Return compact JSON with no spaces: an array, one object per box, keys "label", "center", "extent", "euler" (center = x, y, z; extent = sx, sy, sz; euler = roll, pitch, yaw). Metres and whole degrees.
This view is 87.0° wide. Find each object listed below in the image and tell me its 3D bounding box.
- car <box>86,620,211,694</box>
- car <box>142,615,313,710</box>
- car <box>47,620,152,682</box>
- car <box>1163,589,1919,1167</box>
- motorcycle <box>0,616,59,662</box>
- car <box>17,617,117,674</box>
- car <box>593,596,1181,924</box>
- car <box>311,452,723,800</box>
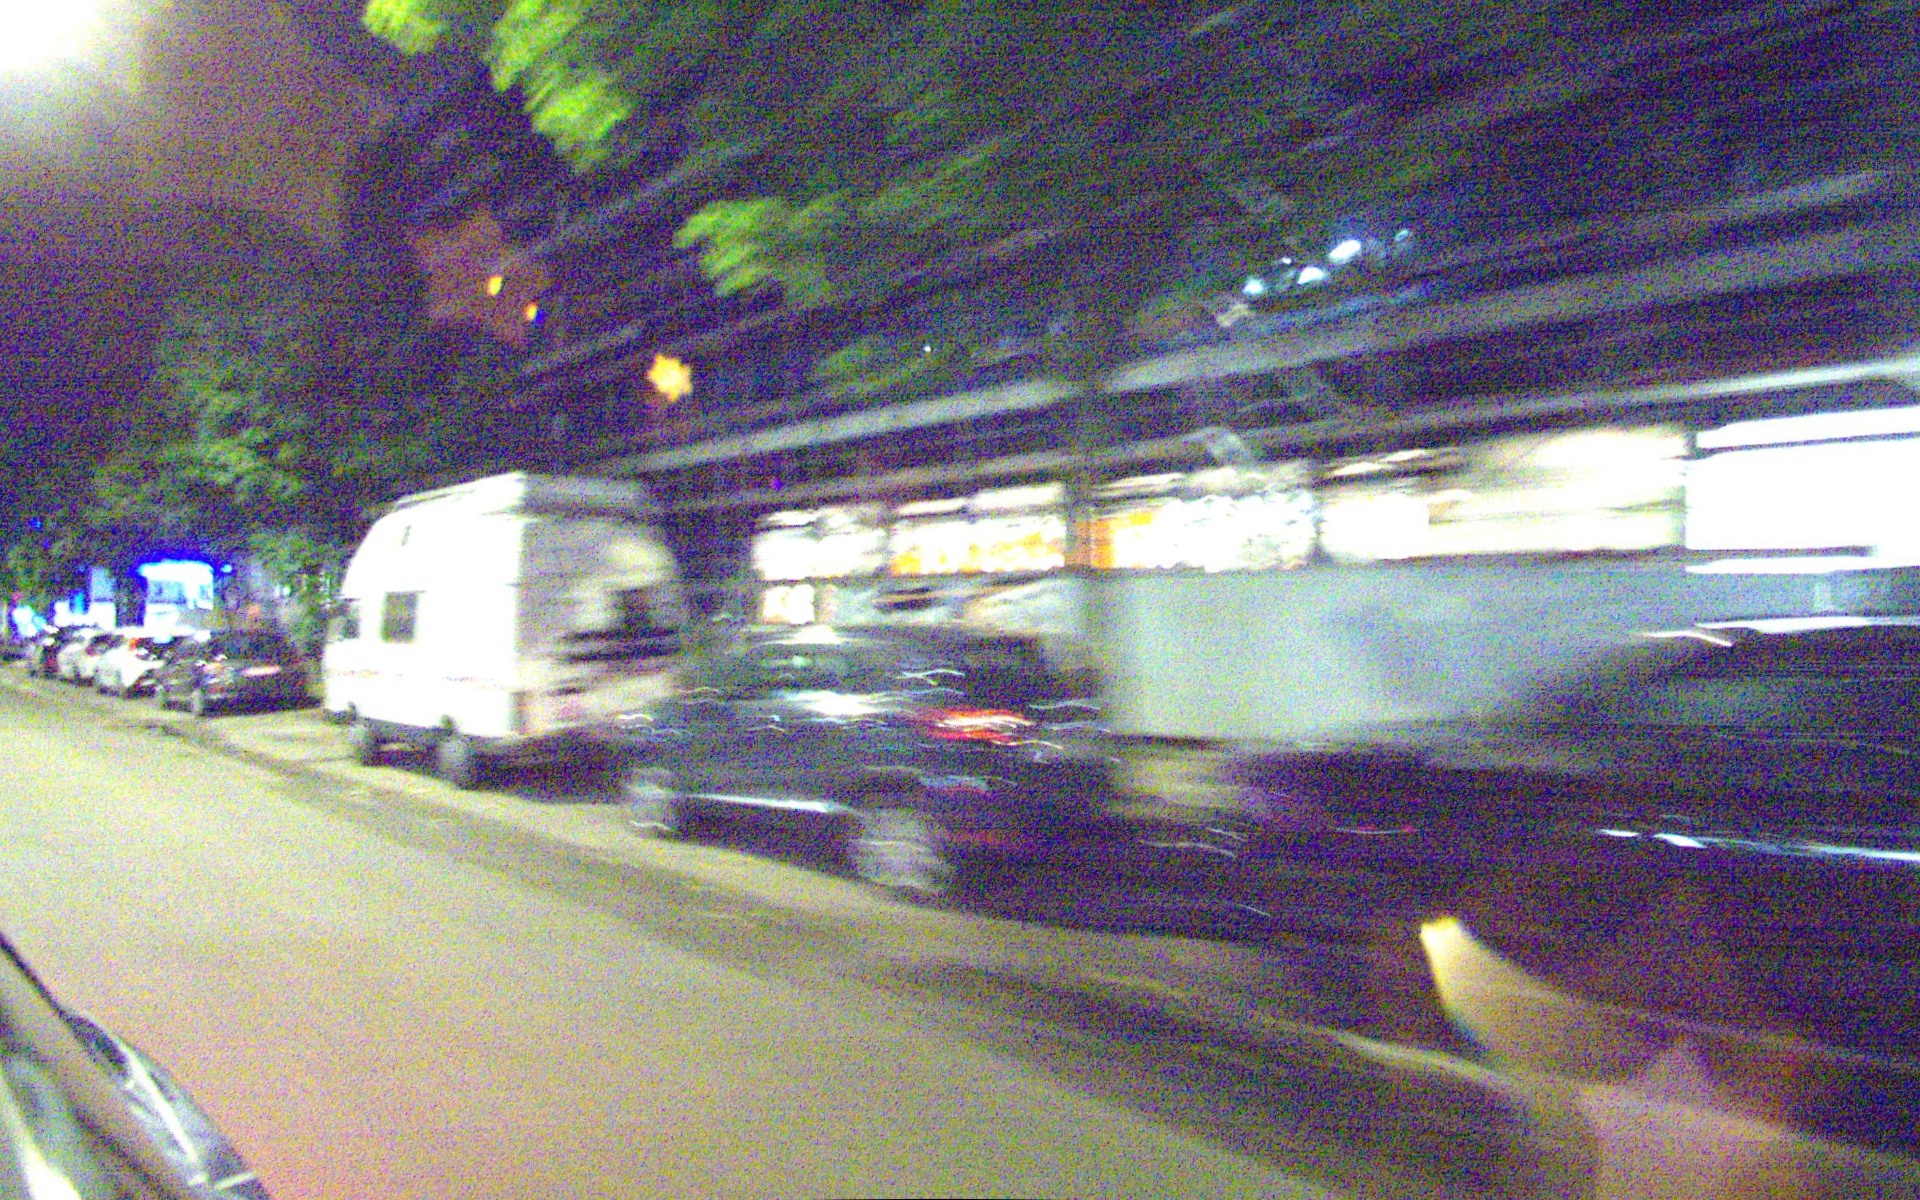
[{"label":"car","center":[-17.830,1.188,22.198],"extent":[3.366,1.466,1.532],"euler":[-1,0,40]},{"label":"car","center":[-13.302,1.066,18.299],"extent":[3.858,1.516,1.629],"euler":[-2,-1,40]},{"label":"car","center":[-22.335,1.266,26.221],"extent":[3.901,1.440,1.430],"euler":[-1,1,40]},{"label":"car","center":[3.087,0.787,3.683],"extent":[4.294,1.618,1.725],"euler":[-1,1,39]},{"label":"motorcycle","center":[-33.114,1.372,35.706],"extent":[0.635,1.561,1.894],"euler":[-1,0,21]},{"label":"car","center":[-25.966,1.280,29.383],"extent":[3.901,1.516,1.626],"euler":[-1,0,40]},{"label":"car","center":[-0.718,0.834,7.137],"extent":[4.114,1.618,1.724],"euler":[-1,1,41]},{"label":"car","center":[-4.958,0.248,10.959],"extent":[4.906,2.931,2.157],"euler":[-1,-1,40]}]
